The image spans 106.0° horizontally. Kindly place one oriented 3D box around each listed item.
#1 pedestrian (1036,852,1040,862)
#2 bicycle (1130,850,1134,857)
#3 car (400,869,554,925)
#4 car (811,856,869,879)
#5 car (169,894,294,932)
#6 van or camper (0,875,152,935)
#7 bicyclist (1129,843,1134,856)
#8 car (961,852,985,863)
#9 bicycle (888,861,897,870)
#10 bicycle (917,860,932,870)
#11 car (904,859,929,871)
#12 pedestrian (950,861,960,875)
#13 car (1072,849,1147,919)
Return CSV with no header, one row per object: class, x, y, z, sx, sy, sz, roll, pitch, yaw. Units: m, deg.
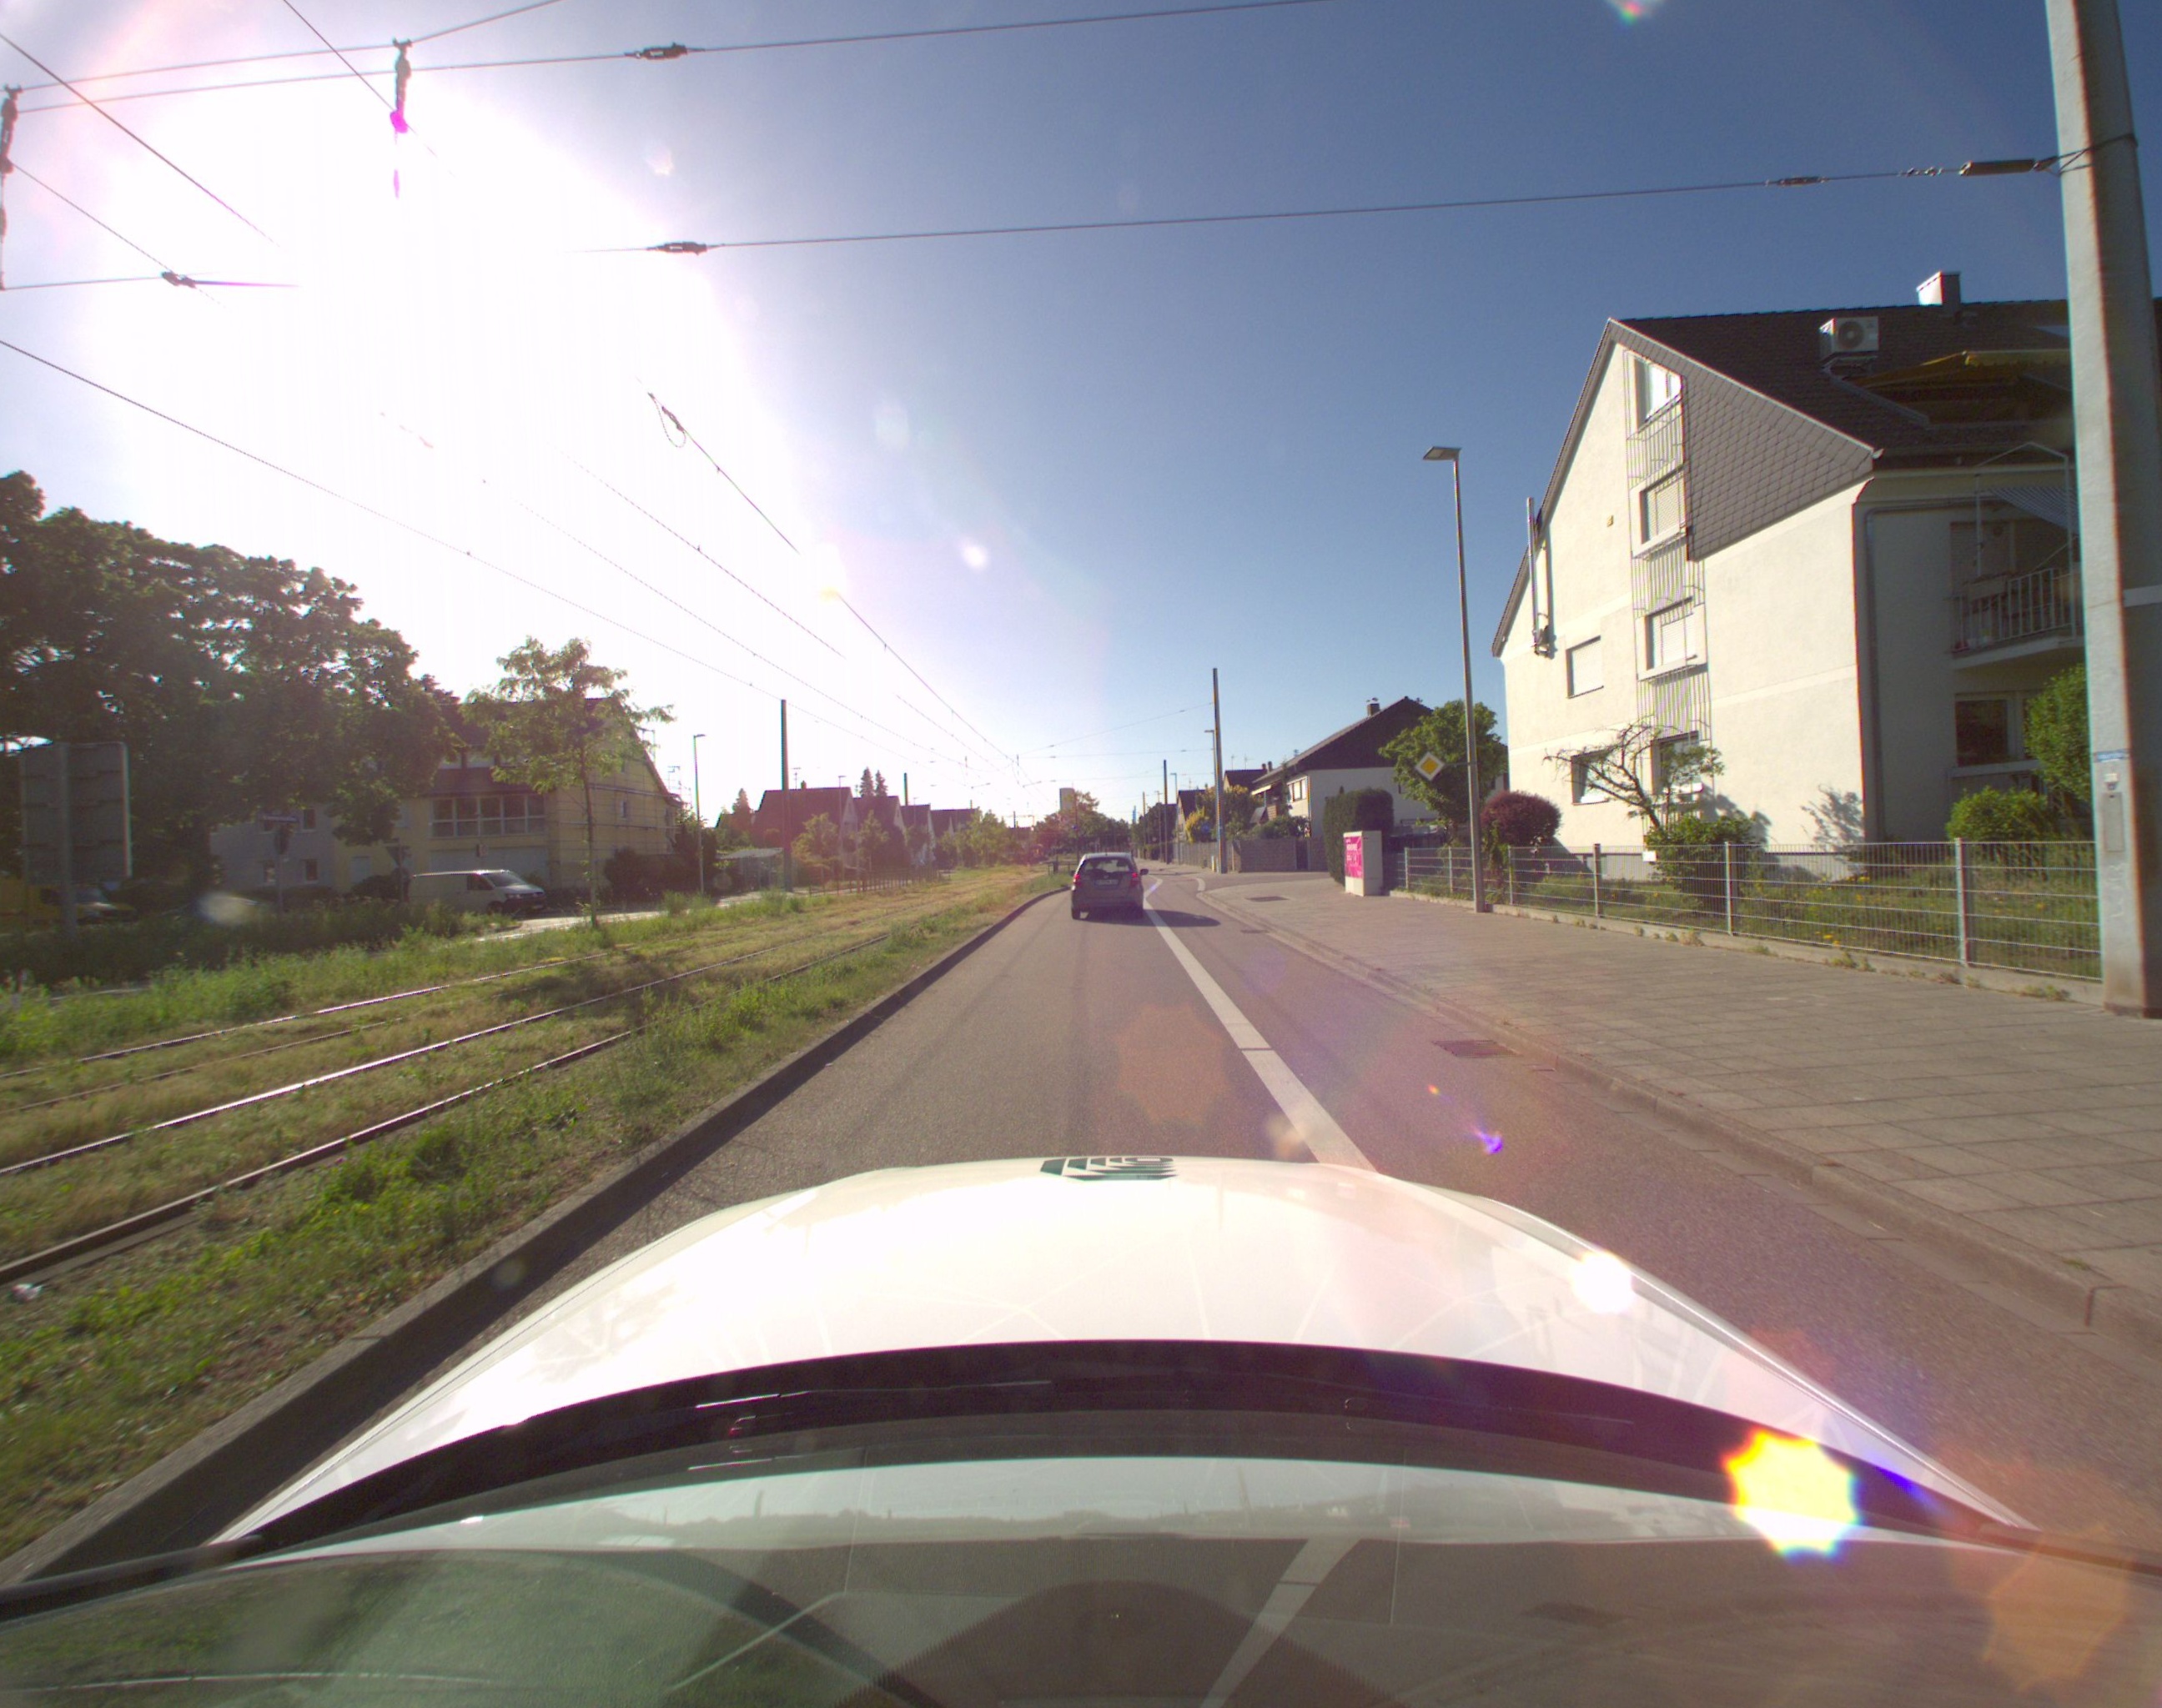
pedestrian,-6.813,0.432,129.384,0.673,1.535,0.748,-2,0,-3
bicycle,7.210,-0.093,115.139,0.473,0.961,1.658,-1,-1,2
car,-23.578,1.661,31.898,4.664,1.914,1.906,-3,0,5
car,-20.903,1.134,70.700,4.541,1.734,2.046,-3,0,-10
car,-36.627,2.544,35.176,3.718,1.346,1.560,-3,0,0
van or camper,-44.918,2.184,35.094,7.210,2.349,2.111,-1,0,-1
bicyclist,7.115,-0.634,114.932,0.596,1.701,0.684,-1,-1,2
car,-18.657,0.598,140.632,3.982,1.970,1.929,-1,-1,-6
bicycle,-19.622,1.182,84.931,0.421,0.942,1.749,-3,0,2
bicycle,-22.447,1.551,116.588,1.985,1.365,0.703,-2,0,-6
car,-21.123,1.363,104.892,1.927,1.450,5.164,-2,0,2
pedestrian,-15.539,1.679,100.540,0.961,1.640,1.086,-2,0,1
car,0.641,0.665,19.831,1.665,1.535,3.486,0,0,0
